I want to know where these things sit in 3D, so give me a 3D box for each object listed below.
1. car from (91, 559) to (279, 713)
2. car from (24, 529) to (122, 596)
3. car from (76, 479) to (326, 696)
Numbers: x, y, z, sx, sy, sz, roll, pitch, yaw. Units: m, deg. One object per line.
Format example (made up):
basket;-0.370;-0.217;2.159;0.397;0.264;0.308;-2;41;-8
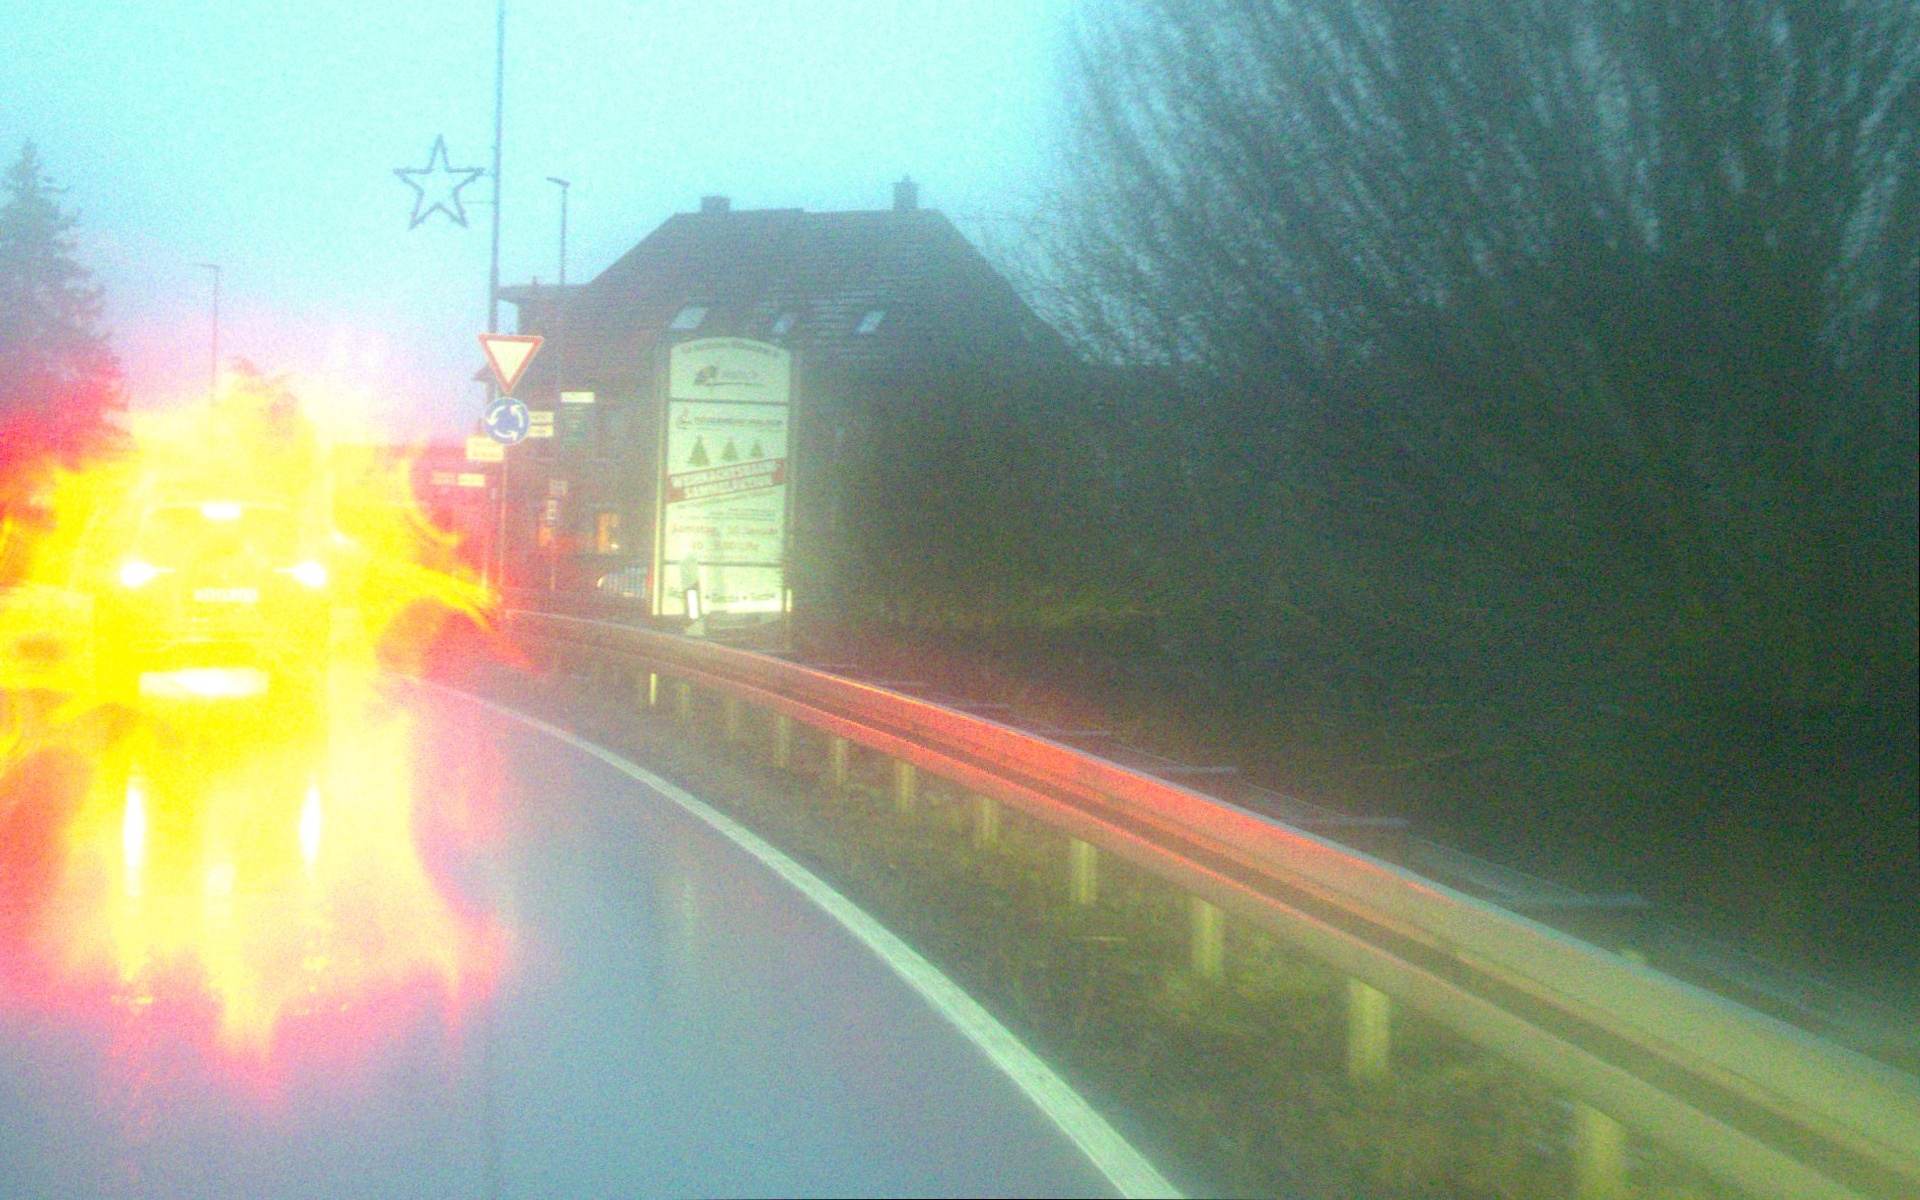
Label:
car;-9.783;0.415;43.464;2.163;1.683;4.573;1;2;-13
car;-21.150;-0.883;81.900;1.772;1.539;4.001;1;0;-21
car;-6.670;-0.129;30.126;1.944;1.712;4.001;2;1;-13
